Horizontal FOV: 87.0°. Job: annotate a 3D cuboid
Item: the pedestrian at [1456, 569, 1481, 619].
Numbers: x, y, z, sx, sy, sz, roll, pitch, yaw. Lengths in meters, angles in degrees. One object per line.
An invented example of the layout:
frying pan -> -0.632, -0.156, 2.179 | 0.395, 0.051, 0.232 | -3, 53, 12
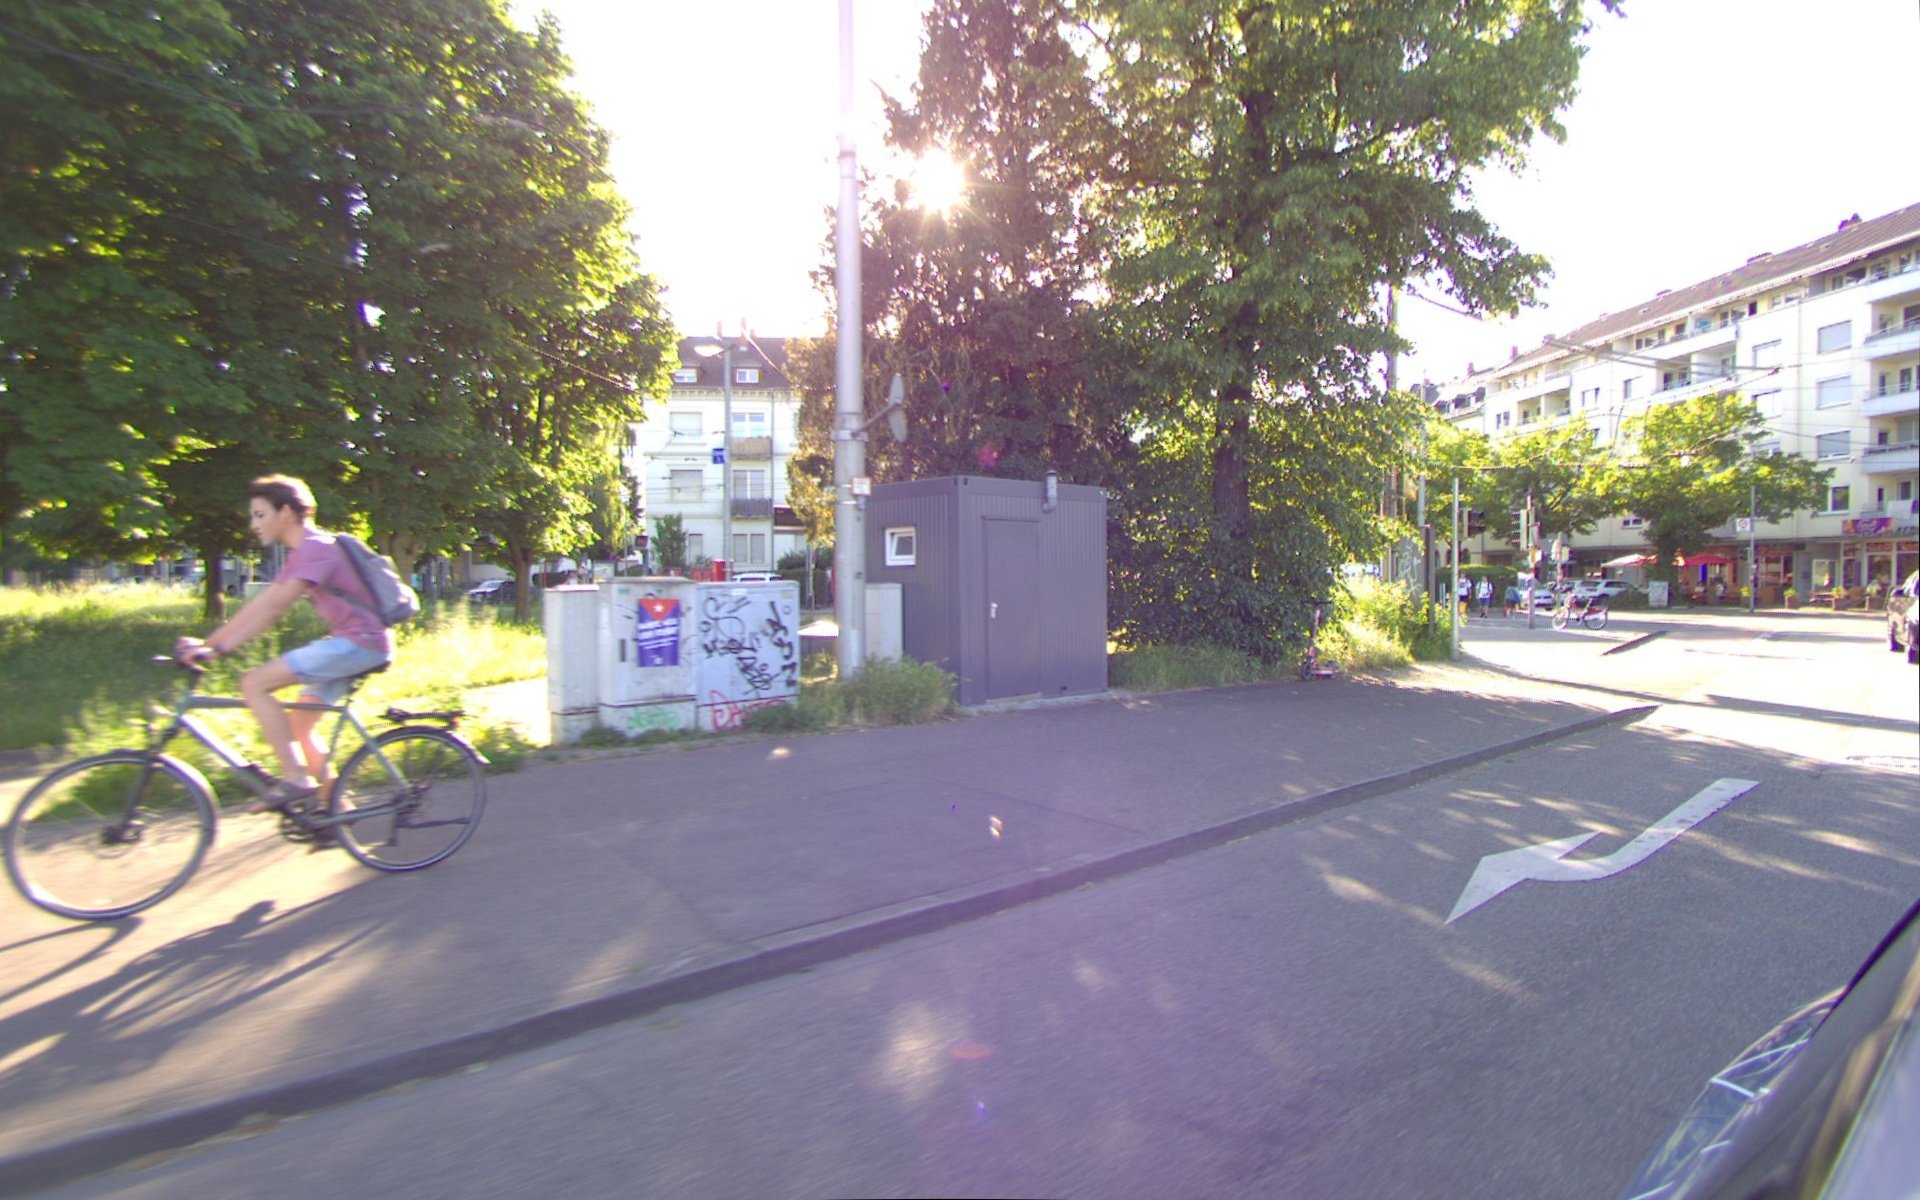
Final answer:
pedestrian -> 20.815, -0.253, 41.434 | 0.585, 1.954, 0.852 | -4, 0, 11

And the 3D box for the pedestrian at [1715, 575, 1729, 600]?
pedestrian -> 40.009, -0.662, 53.114 | 0.484, 1.293, 0.385 | -1, -1, -30

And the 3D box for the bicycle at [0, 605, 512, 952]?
bicycle -> -3.143, 0.676, 4.525 | 1.963, 1.207, 0.721 | -3, 2, -34

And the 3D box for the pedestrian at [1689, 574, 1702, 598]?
pedestrian -> 40.635, -0.756, 55.918 | 0.484, 1.293, 0.385 | -1, -1, -30

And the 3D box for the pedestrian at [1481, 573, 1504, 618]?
pedestrian -> 21.363, -0.174, 40.631 | 0.546, 1.758, 0.627 | -4, 0, 11

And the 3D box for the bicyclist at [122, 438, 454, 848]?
bicyclist -> -3.029, 0.141, 4.646 | 1.127, 1.619, 0.814 | -2, 2, -34

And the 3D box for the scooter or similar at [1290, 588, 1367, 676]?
scooter or similar -> 5.591, 0.449, 15.288 | 0.384, 1.233, 1.804 | 2, 2, 44

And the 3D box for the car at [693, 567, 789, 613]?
car -> -11.114, -0.506, 51.444 | 4.265, 1.988, 1.904 | -4, 0, 12

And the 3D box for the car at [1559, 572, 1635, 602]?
car -> 35.460, -0.747, 56.396 | 3.141, 1.419, 1.578 | -4, 1, 3

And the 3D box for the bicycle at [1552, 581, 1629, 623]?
bicycle -> 17.812, 0.059, 28.609 | 1.772, 1.141, 0.628 | -1, 0, 0

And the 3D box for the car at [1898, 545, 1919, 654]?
car -> 18.890, -0.062, 18.654 | 1.932, 1.957, 4.462 | -4, 1, 39

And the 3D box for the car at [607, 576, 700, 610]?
car -> -15.978, -0.354, 52.743 | 4.310, 1.445, 1.686 | -4, 1, 12

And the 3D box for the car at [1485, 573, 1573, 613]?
car -> 28.496, -0.371, 50.846 | 1.821, 1.829, 4.221 | -4, 1, -1

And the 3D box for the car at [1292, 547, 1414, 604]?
car -> 16.658, -1.034, 43.115 | 4.485, 2.204, 1.945 | -2, 1, 12

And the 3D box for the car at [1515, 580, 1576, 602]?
car -> 34.678, -0.535, 59.961 | 2.746, 1.096, 1.326 | -4, 1, 3

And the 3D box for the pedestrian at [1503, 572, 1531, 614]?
pedestrian -> 21.877, -0.288, 39.745 | 0.661, 1.612, 0.726 | -4, 0, 11

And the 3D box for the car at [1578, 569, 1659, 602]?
car -> 34.957, -0.782, 53.779 | 3.141, 1.505, 1.578 | -4, 1, 3
